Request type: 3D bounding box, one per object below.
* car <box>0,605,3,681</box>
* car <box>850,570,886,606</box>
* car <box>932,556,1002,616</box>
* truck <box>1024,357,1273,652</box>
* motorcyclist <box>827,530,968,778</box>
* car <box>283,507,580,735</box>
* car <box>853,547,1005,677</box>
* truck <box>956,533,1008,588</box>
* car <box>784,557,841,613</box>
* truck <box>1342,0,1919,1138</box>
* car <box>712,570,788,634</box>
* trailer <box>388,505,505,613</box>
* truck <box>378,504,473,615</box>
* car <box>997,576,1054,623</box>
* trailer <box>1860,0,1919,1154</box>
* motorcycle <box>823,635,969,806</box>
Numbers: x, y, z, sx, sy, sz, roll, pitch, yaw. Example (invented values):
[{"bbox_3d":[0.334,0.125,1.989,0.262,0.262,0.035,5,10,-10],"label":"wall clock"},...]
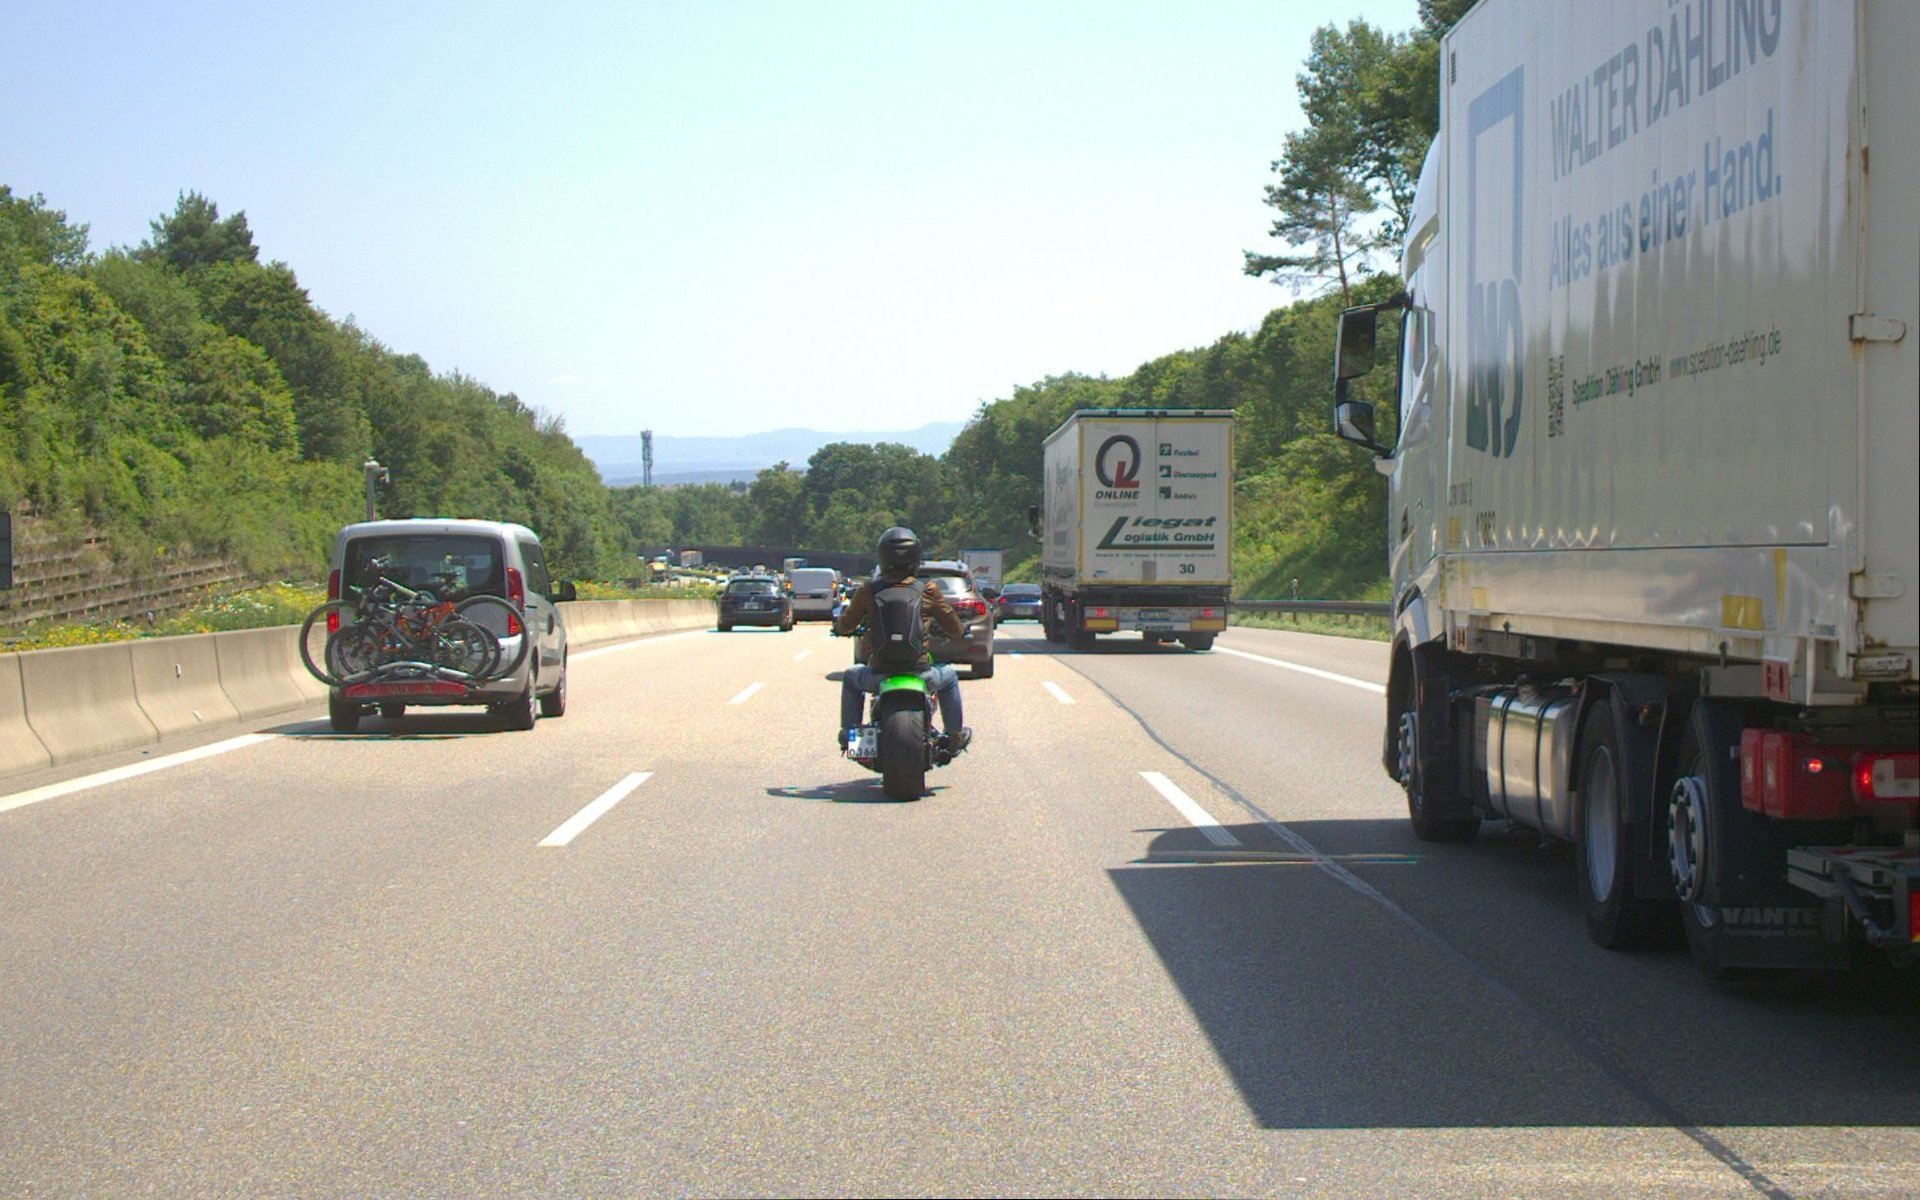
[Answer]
[{"bbox_3d":[-15.643,0.582,49.915,1.961,1.490,5.888,-2,1,-2],"label":"car"},{"bbox_3d":[-4.731,-0.630,177.406,1.831,1.804,4.120,0,1,-1],"label":"car"},{"bbox_3d":[0.184,-0.407,94.595,1.831,1.553,4.120,0,1,-1],"label":"car"},{"bbox_3d":[3.225,-1.691,64.570,3.383,4.702,17.710,1,1,-1],"label":"truck"},{"bbox_3d":[-0.377,0.326,21.403,0.856,1.510,0.914,0,0,0],"label":"motorcyclist"},{"bbox_3d":[-4.617,0.148,30.828,1.898,1.841,5.483,0,0,-1],"label":"car"},{"bbox_3d":[-0.421,0.115,44.387,1.845,1.552,4.440,0,1,-1],"label":"car"},{"bbox_3d":[1.372,-2.504,218.033,3.067,3.335,9.652,1,1,-1],"label":"truck"},{"bbox_3d":[-4.966,-0.516,116.226,1.831,1.804,4.120,0,1,-1],"label":"car"},{"bbox_3d":[3.627,-0.681,14.391,2.680,4.045,10.626,0,1,-1],"label":"truck"},{"bbox_3d":[-5.373,0.026,88.300,1.758,1.538,4.395,0,1,-1],"label":"car"},{"bbox_3d":[-20.143,-1.643,135.719,2.680,4.001,14.189,-1,1,-1],"label":"trailer"},{"bbox_3d":[-20.013,-1.531,128.977,2.680,4.017,5.931,-1,1,-1],"label":"truck"},{"bbox_3d":[2.270,-0.031,119.726,1.831,1.521,4.027,0,1,-1],"label":"car"},{"bbox_3d":[3.778,-0.643,3.901,2.680,4.161,10.066,0,1,-1],"label":"trailer"},{"bbox_3d":[-0.378,0.727,21.451,0.862,0.978,2.131,0,0,0],"label":"motorcycle"}]
